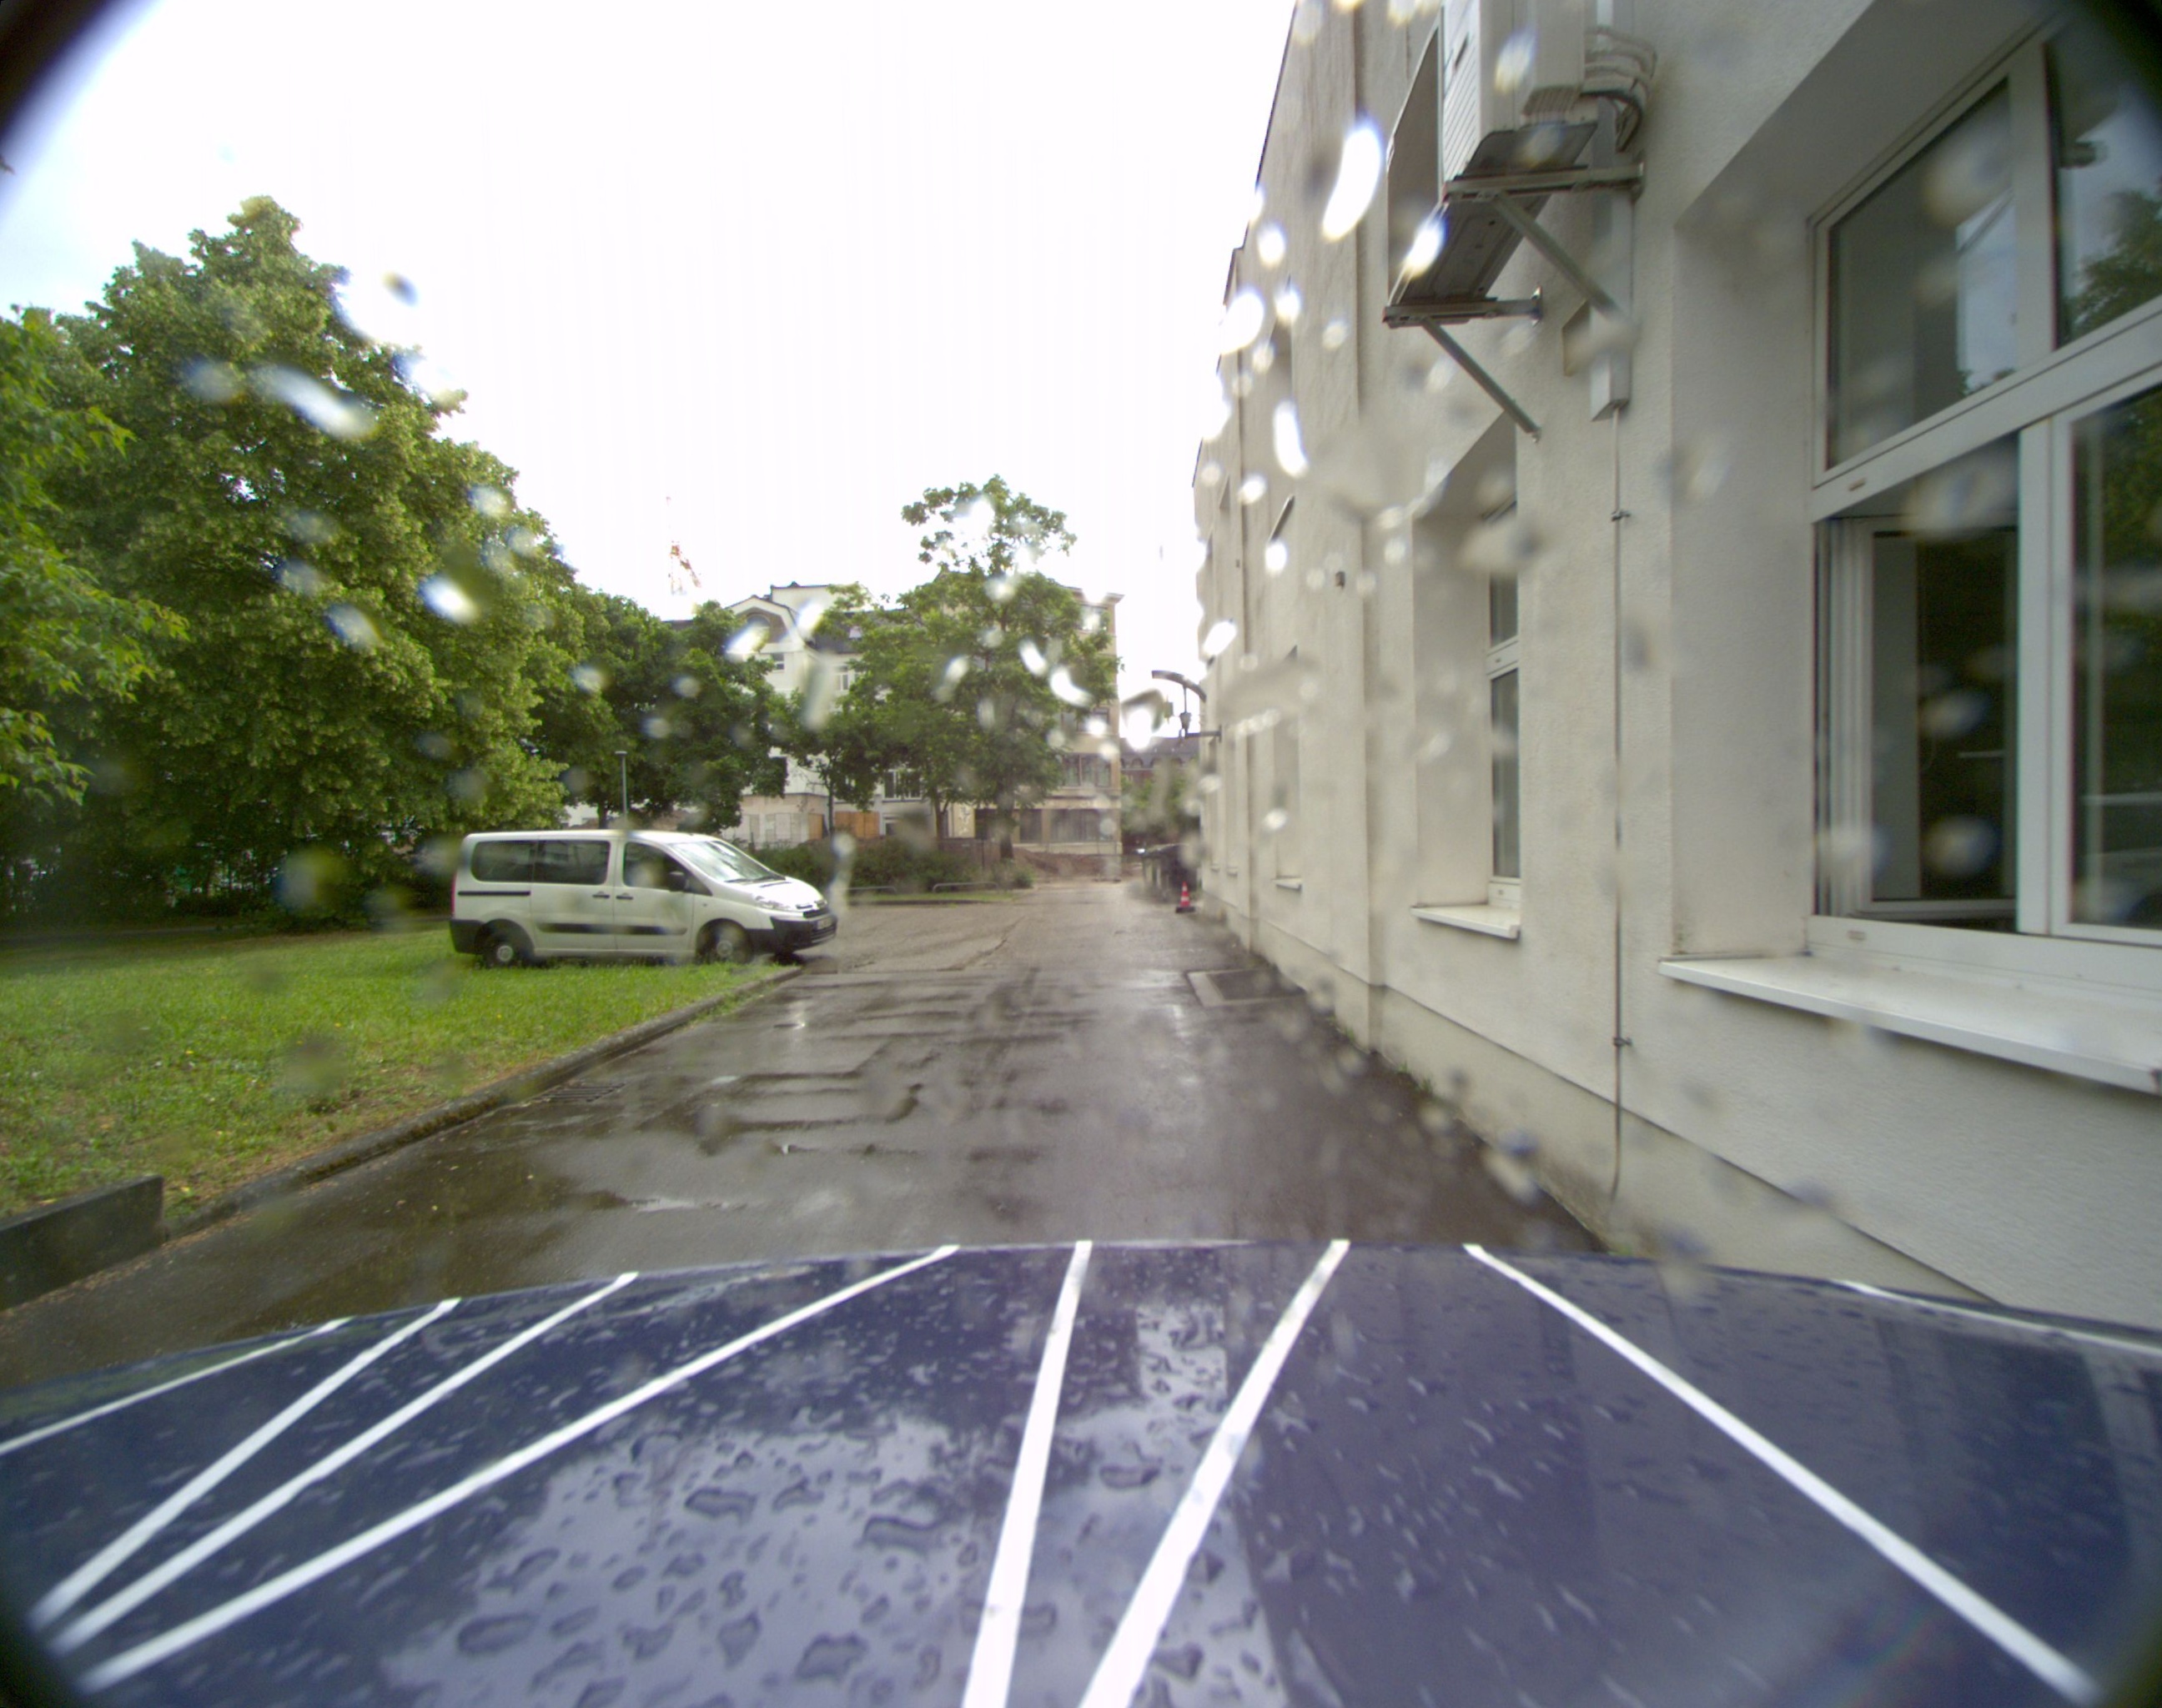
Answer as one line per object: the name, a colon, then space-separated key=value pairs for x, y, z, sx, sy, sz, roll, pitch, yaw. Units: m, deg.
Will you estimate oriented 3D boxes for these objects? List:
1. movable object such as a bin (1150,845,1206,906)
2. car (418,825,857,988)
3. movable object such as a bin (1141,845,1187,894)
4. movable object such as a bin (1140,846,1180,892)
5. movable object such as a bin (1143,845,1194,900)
movable object such as a bin: x=2.482 y=0.521 z=19.578 sx=1.167 sy=1.475 sz=1.594 roll=0 pitch=1 yaw=-3
car: x=-5.965 y=0.655 z=10.657 sx=4.884 sy=1.915 sz=2.099 roll=-2 pitch=2 yaw=4
movable object such as a bin: x=2.593 y=0.497 z=24.037 sx=1.168 sy=1.474 sz=1.402 roll=-2 pitch=-1 yaw=-4
movable object such as a bin: x=2.675 y=0.499 z=25.580 sx=1.103 sy=1.465 sz=1.487 roll=-2 pitch=1 yaw=13
movable object such as a bin: x=2.405 y=0.479 z=21.145 sx=1.167 sy=1.475 sz=1.496 roll=0 pitch=1 yaw=-3
